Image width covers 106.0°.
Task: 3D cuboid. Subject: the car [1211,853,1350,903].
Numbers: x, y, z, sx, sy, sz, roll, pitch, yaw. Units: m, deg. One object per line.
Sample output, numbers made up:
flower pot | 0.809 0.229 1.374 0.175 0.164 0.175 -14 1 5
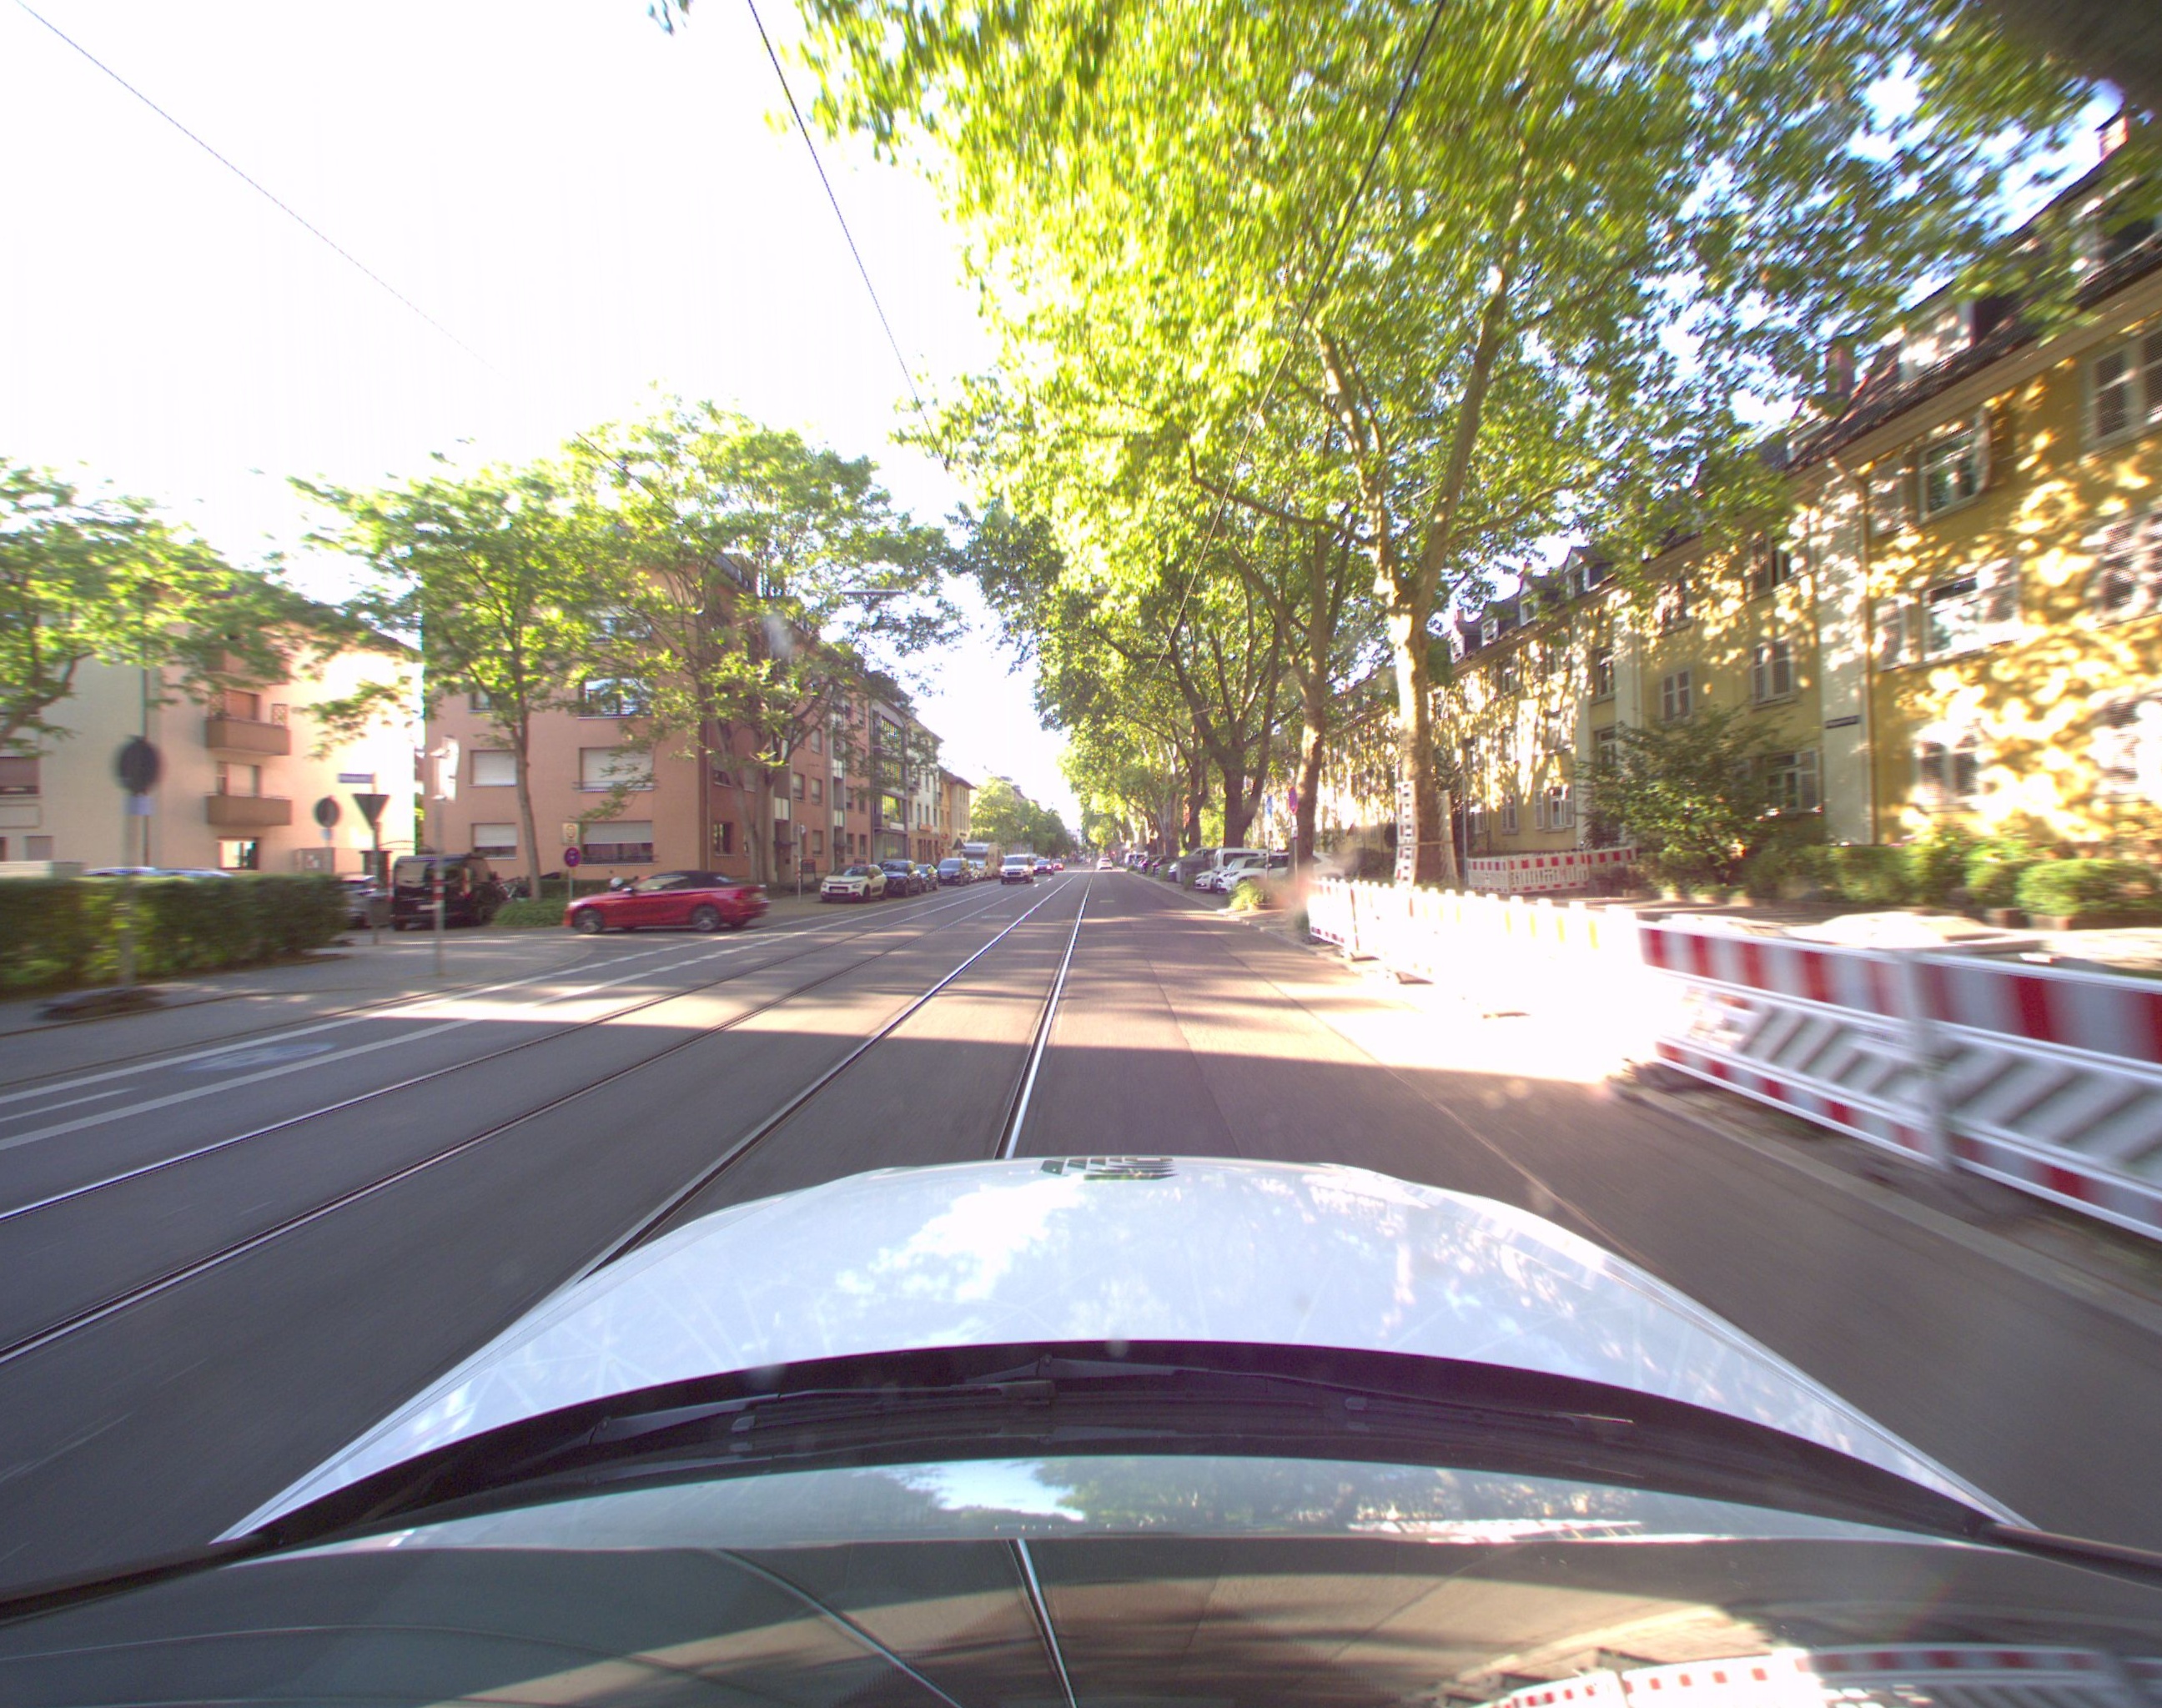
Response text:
car | 6.478 0.771 26.761 4.075 1.521 1.916 -1 -1 -1

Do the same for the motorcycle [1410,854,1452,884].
motorcycle | 14.018 0.596 32.683 0.712 1.153 2.264 -2 0 1

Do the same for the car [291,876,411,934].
car | -21.458 1.435 24.092 1.758 1.518 3.583 -1 -1 -27

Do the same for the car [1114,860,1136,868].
car | 8.201 1.850 152.418 3.973 1.521 2.000 -1 -1 1

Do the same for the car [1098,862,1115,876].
car | 3.049 1.752 99.088 1.911 1.584 3.791 -2 0 1

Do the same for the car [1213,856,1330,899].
car | 6.743 0.823 29.146 3.826 1.433 1.854 -1 -1 4

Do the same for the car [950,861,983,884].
car | -8.113 1.272 58.032 1.704 1.488 3.861 2 0 0

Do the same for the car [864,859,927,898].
car | -8.427 1.071 37.326 1.775 1.610 4.587 2 0 0

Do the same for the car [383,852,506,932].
car | -18.660 1.043 24.120 2.004 2.123 4.681 0 -1 -27

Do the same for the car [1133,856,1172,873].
car | 7.525 1.107 86.011 3.912 1.670 1.960 -1 -1 -1

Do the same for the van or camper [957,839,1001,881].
van or camper | -8.026 0.458 64.548 2.328 3.041 6.400 2 0 2

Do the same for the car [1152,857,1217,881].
car | 7.000 1.006 55.507 4.232 1.484 1.898 -1 -1 0

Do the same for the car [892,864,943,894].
car | -8.483 1.267 42.666 1.732 1.401 4.382 1 0 0

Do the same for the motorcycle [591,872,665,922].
motorcycle | -13.525 1.261 24.397 0.899 1.280 2.347 -1 2 -1

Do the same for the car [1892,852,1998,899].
car | 16.744 0.403 15.829 0.443 0.852 1.574 1 0 2

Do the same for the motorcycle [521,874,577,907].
motorcycle | -19.784 1.336 30.328 0.692 1.129 2.067 -1 0 1

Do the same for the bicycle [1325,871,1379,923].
bicycle | 6.002 0.924 18.126 0.633 1.070 1.809 -1 0 1

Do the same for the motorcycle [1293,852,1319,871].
motorcycle | 17.499 0.611 63.298 1.798 1.361 0.622 -4 -1 -2

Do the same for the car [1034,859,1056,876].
car | -3.342 1.222 75.796 1.769 1.458 4.203 -2 0 1

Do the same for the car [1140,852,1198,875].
car | 7.097 0.799 65.991 4.475 1.602 2.030 -3 -1 4

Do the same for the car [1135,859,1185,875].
car | 7.594 1.210 78.915 4.670 1.446 1.892 -1 -1 1

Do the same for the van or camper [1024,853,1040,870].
van or camper | -7.438 1.098 124.158 2.072 2.533 5.318 -1 -1 1

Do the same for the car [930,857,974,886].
car | -8.213 1.081 52.154 1.946 1.686 5.070 1 0 0

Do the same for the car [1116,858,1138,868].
car | 8.462 1.705 150.110 3.973 1.785 2.000 -1 -1 1

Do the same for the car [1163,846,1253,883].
car | 7.201 0.610 46.604 4.822 1.963 2.064 -1 -1 -2

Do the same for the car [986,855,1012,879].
car | -7.748 1.183 77.213 1.946 2.091 5.246 2 0 -1

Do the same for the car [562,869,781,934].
car | -9.505 1.091 19.125 4.205 1.389 1.800 -1 -2 3

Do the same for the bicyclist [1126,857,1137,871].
bicyclist | 6.338 1.251 102.301 1.045 1.705 1.055 -1 -1 -9

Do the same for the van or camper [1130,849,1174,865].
van or camper | 9.569 0.407 110.049 5.544 2.013 2.242 -1 2 -4

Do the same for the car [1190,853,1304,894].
car | 6.683 0.775 33.136 4.350 1.542 1.804 -1 0 4

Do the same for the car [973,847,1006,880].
car | -7.956 0.835 71.159 2.079 2.731 5.310 2 0 1

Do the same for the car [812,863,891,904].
car | -8.917 1.110 31.996 1.799 1.478 4.091 1 -1 2

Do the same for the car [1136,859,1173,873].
car | 7.567 1.229 83.785 3.636 1.378 1.890 -1 -1 1

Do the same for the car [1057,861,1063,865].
car | -6.525 2.727 249.789 1.913 1.419 3.588 -1 -1 -1

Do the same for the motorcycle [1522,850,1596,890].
motorcycle | 15.616 0.512 26.637 1.983 1.250 0.713 -1 -1 -1

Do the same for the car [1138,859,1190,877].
car | 7.135 1.184 70.527 4.282 1.439 1.947 -1 -1 -1

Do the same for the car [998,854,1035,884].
car | -4.041 0.918 51.935 1.885 1.832 4.896 -1 0 1

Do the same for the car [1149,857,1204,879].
car | 6.967 1.006 59.416 3.825 1.509 1.710 -1 -1 0

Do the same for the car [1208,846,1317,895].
car | 6.843 0.625 31.110 3.826 1.772 1.919 -1 -1 4

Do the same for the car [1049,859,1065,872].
car | -2.949 1.426 100.595 1.717 1.437 4.069 -2 0 1
